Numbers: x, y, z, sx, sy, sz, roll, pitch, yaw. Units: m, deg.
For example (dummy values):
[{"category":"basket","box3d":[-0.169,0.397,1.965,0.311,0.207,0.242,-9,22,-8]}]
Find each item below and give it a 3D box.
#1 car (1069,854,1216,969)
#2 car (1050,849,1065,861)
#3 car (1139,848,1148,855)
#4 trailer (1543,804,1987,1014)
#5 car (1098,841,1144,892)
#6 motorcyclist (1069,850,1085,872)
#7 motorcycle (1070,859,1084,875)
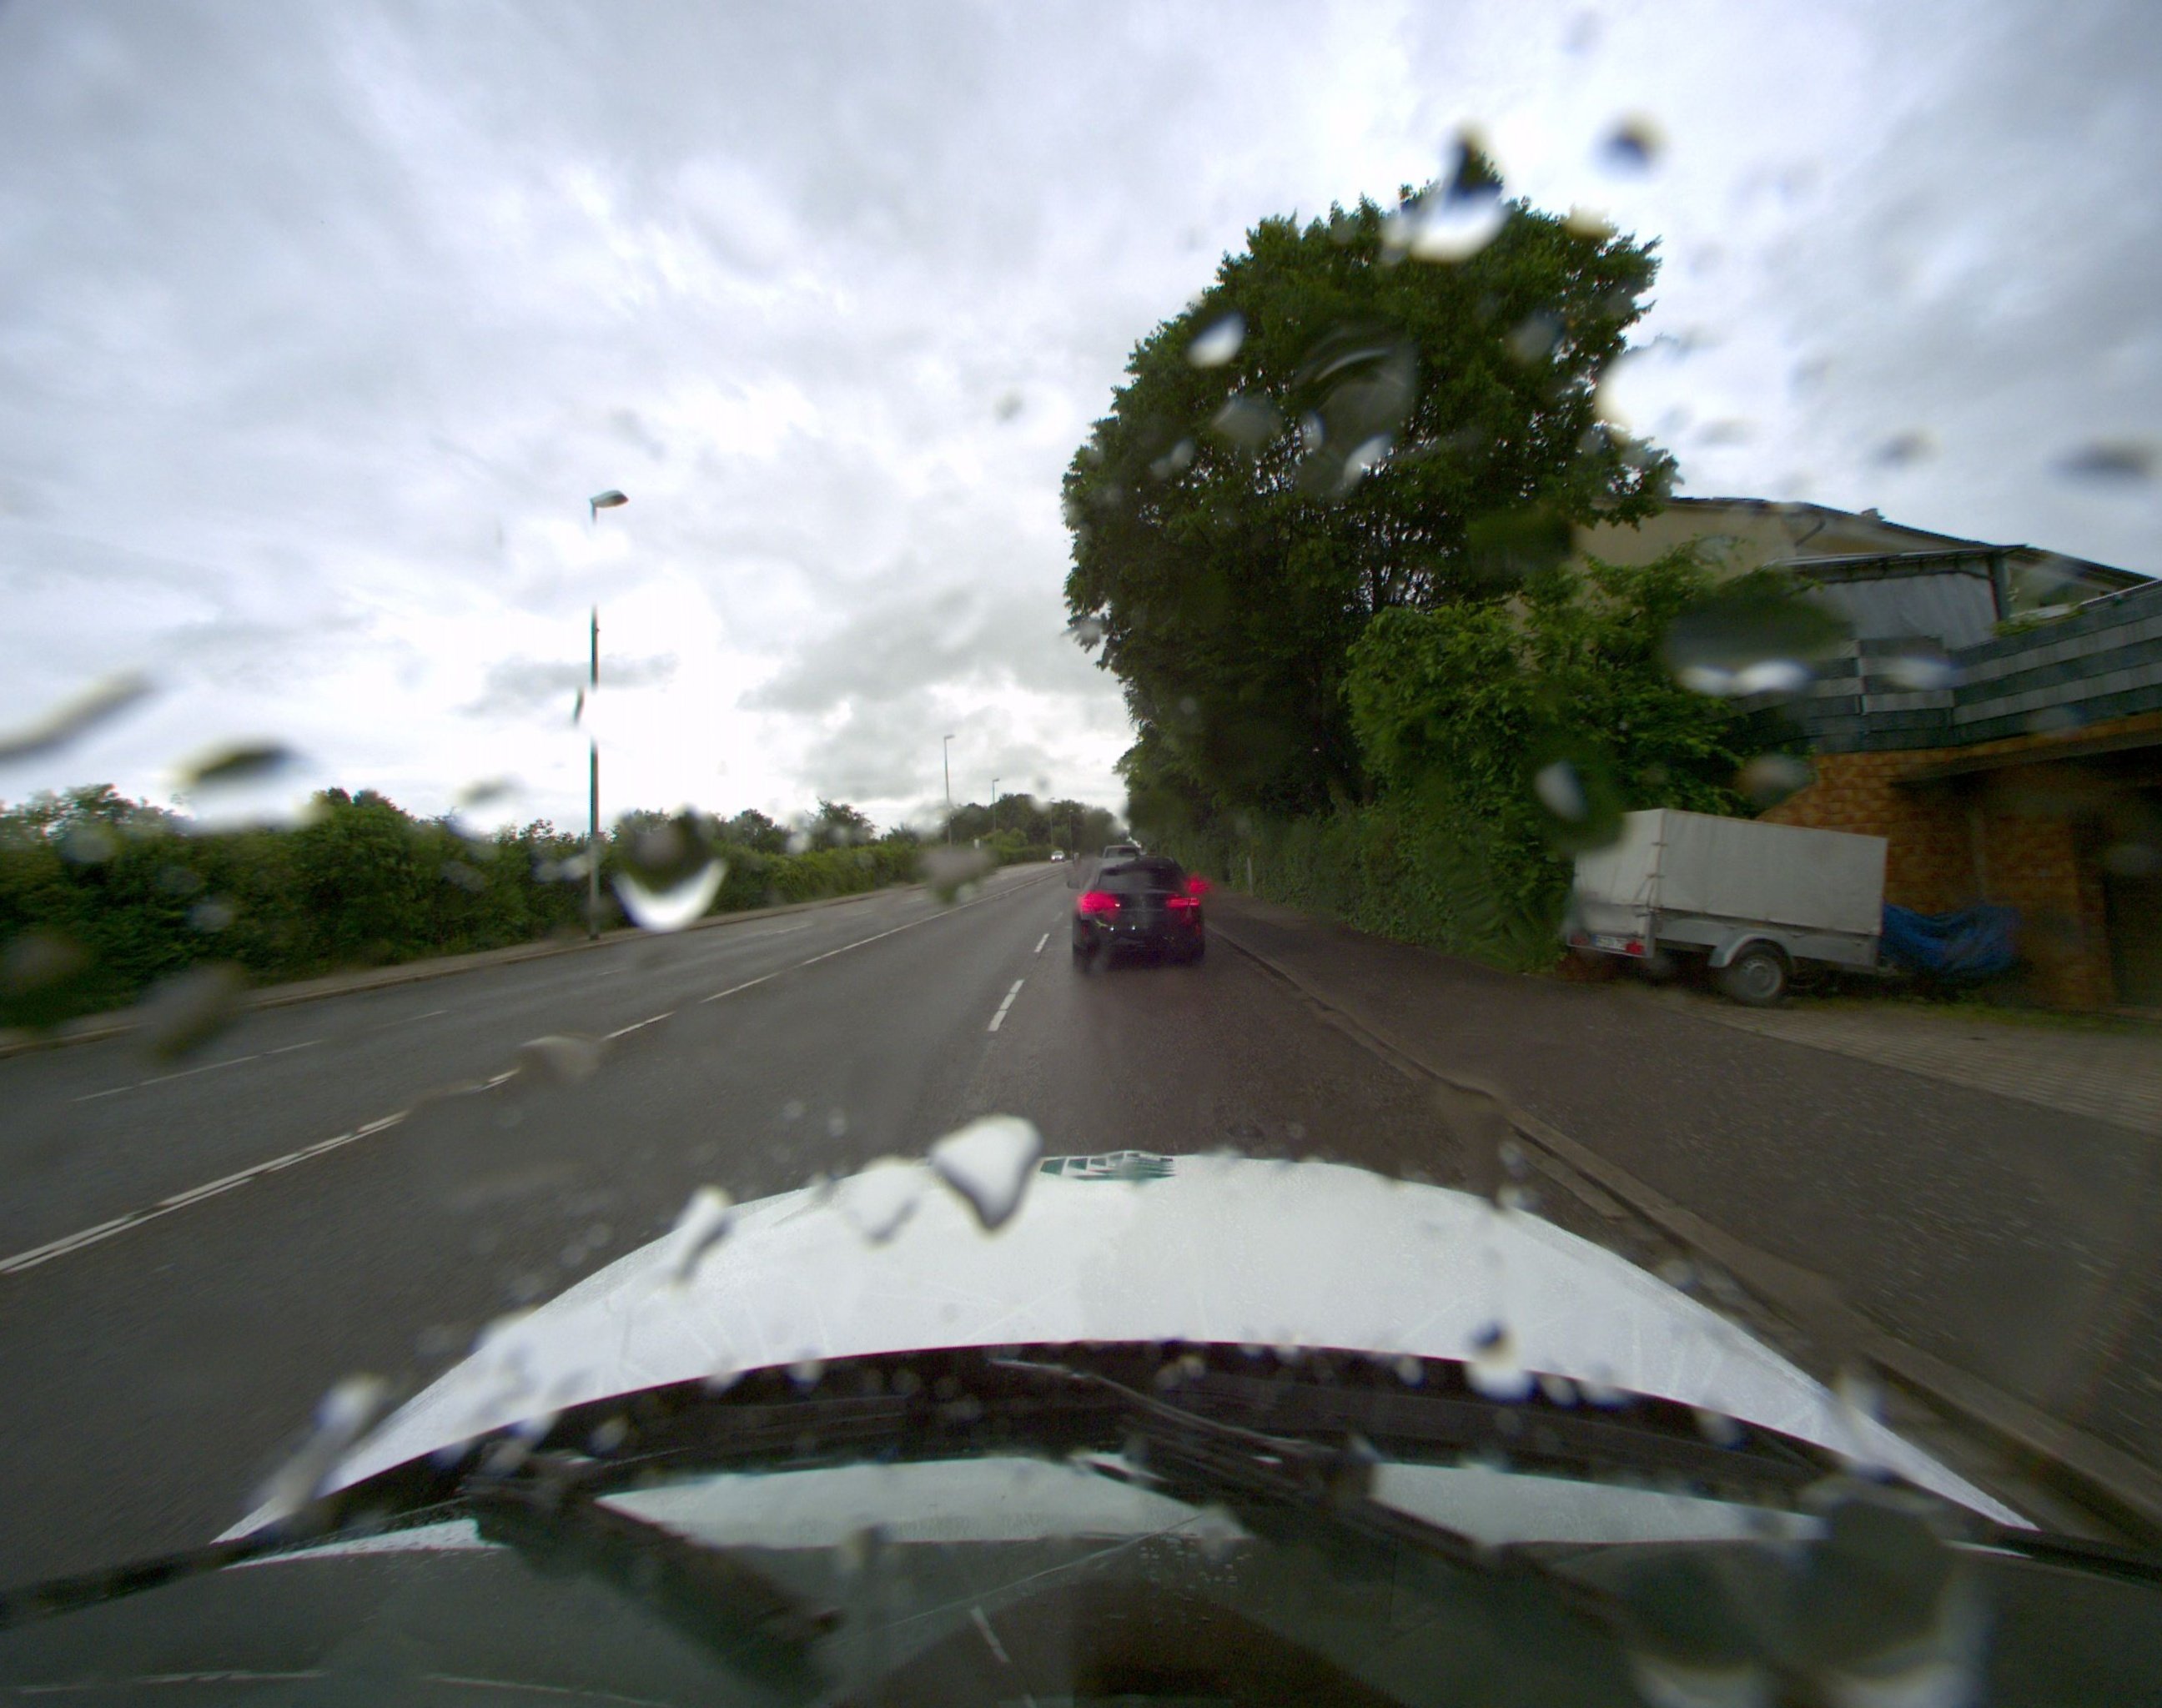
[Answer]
[{"category":"car","box3d":[0.954,0.753,12.566,1.888,1.489,4.005,0,0,4]},{"category":"car","box3d":[-3.354,0.136,115.559,1.749,1.568,4.002,-4,0,2]},{"category":"car","box3d":[13.802,-0.485,179.588,1.926,1.442,4.415,-3,0,6]},{"category":"trailer","box3d":[6.414,0.489,7.865,2.971,1.570,1.488,5,-1,-1]},{"category":"car","box3d":[1.630,0.467,32.811,1.622,1.833,4.004,-3,0,3]},{"category":"motorcyclist","box3d":[-0.277,0.495,58.240,1.035,1.567,0.856,-1,-1,3]},{"category":"motorcycle","box3d":[-0.269,0.931,58.288,0.872,1.124,2.743,-1,-1,3]}]
